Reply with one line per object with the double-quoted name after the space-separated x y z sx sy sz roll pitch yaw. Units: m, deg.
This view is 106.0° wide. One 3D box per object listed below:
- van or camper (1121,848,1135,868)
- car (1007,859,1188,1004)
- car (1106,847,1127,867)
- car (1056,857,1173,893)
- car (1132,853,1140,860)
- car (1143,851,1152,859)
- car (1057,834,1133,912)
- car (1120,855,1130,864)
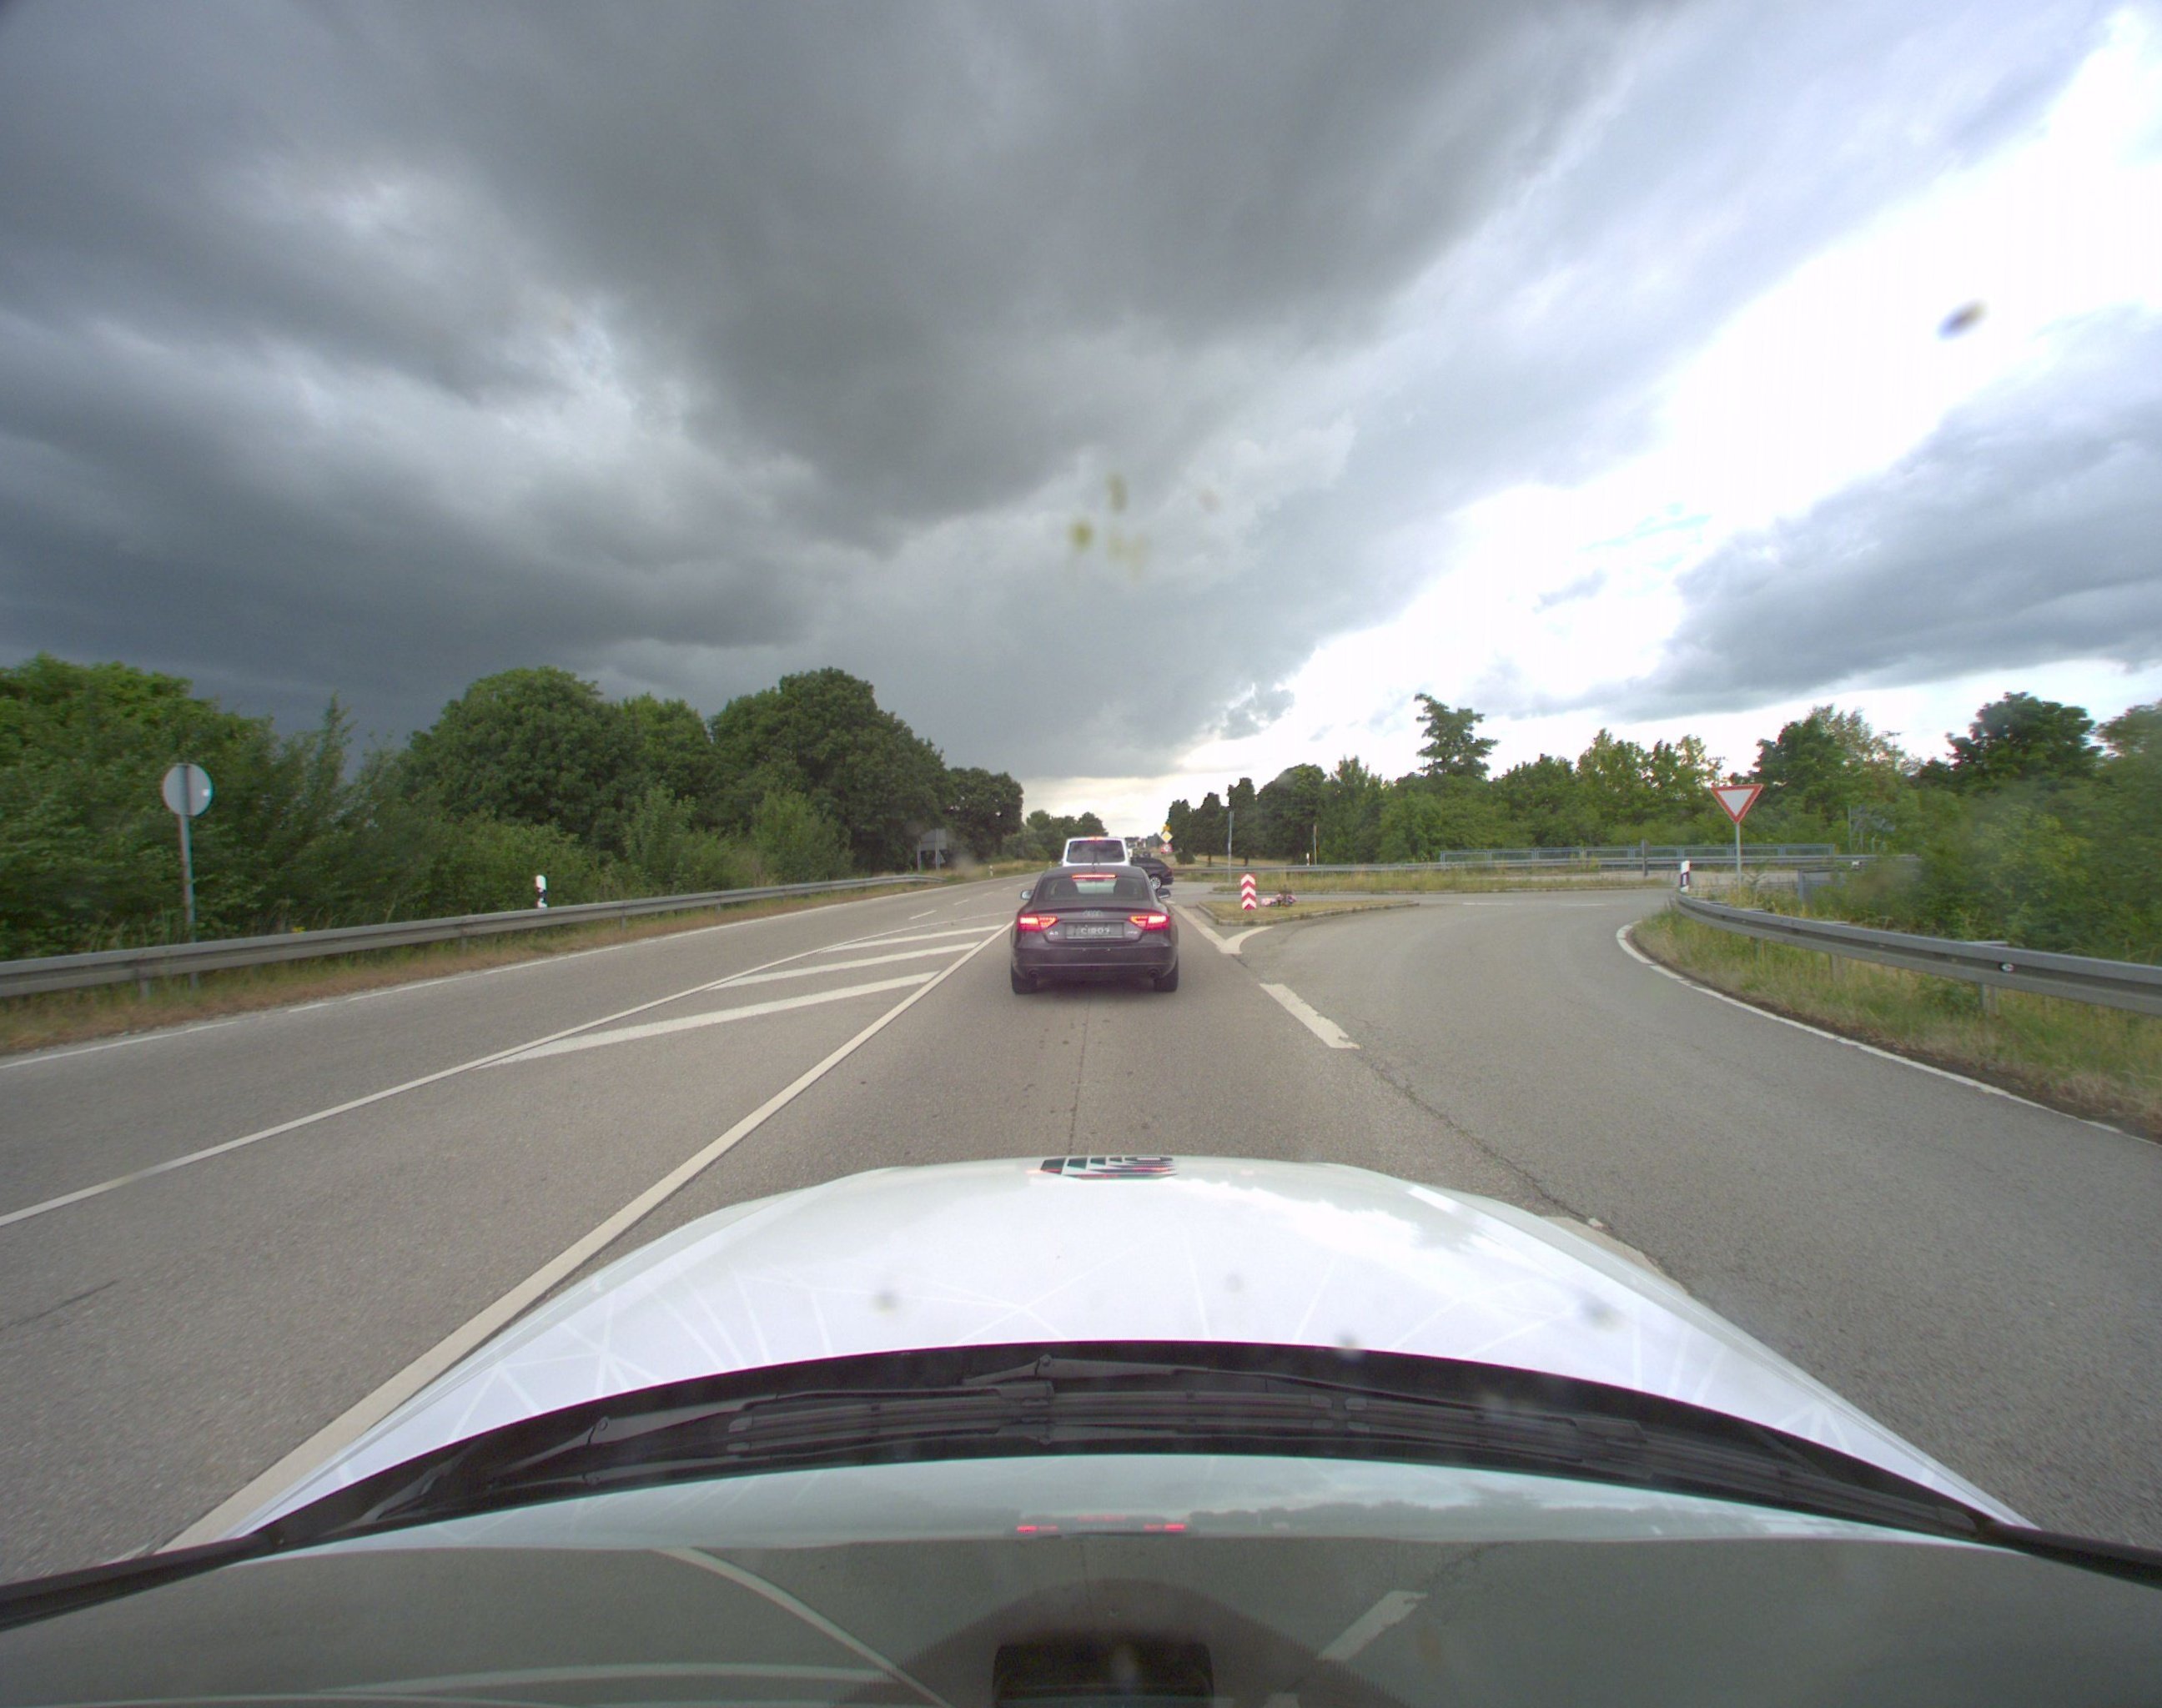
8.413 0.733 145.863 2.330 3.481 5.724 -1 0 4 "van or camper"
0.228 0.774 10.019 1.776 1.376 4.002 -1 0 2 "car"
3.896 0.375 88.835 1.984 2.088 4.005 -1 0 5 "car"
1.400 0.873 34.452 4.603 1.374 1.817 -1 0 -15 "car"
12.152 0.591 178.689 1.712 1.451 4.003 0 0 3 "car"
16.766 0.318 206.266 1.986 2.013 4.001 -1 0 1 "car"
0.415 0.449 21.866 1.832 1.882 4.002 -1 0 2 "car"
7.012 0.815 129.735 1.251 1.353 3.473 -1 0 8 "car"
